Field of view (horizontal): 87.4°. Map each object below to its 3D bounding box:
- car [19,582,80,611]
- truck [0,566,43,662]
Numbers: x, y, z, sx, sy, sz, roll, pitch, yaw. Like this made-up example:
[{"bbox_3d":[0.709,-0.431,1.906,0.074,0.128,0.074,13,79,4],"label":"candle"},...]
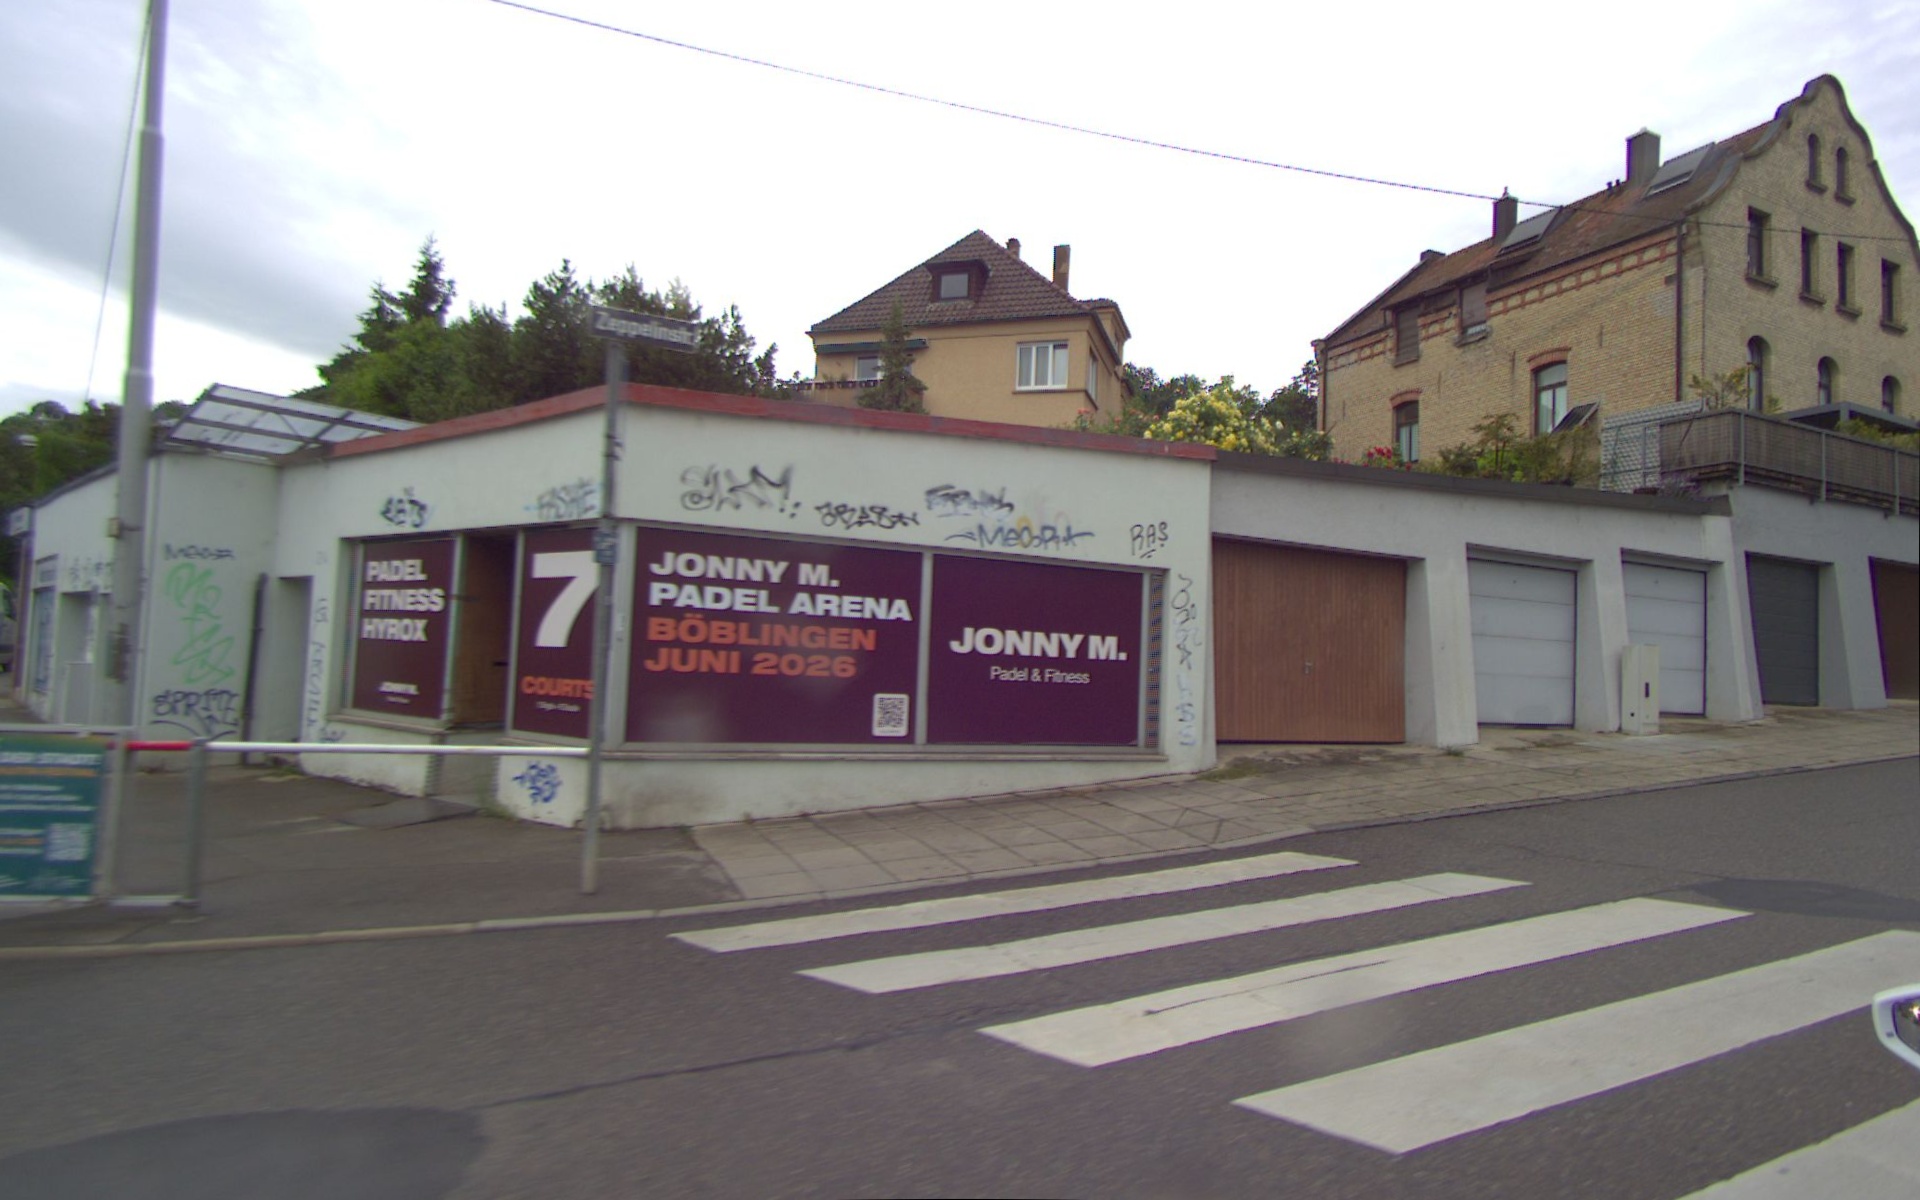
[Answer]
[{"bbox_3d":[-52.498,-0.219,57.967,1.717,1.606,3.969,1,0,-29],"label":"car"},{"bbox_3d":[-23.554,0.273,22.962,2.288,2.299,6.755,4,-2,-30],"label":"truck"}]
